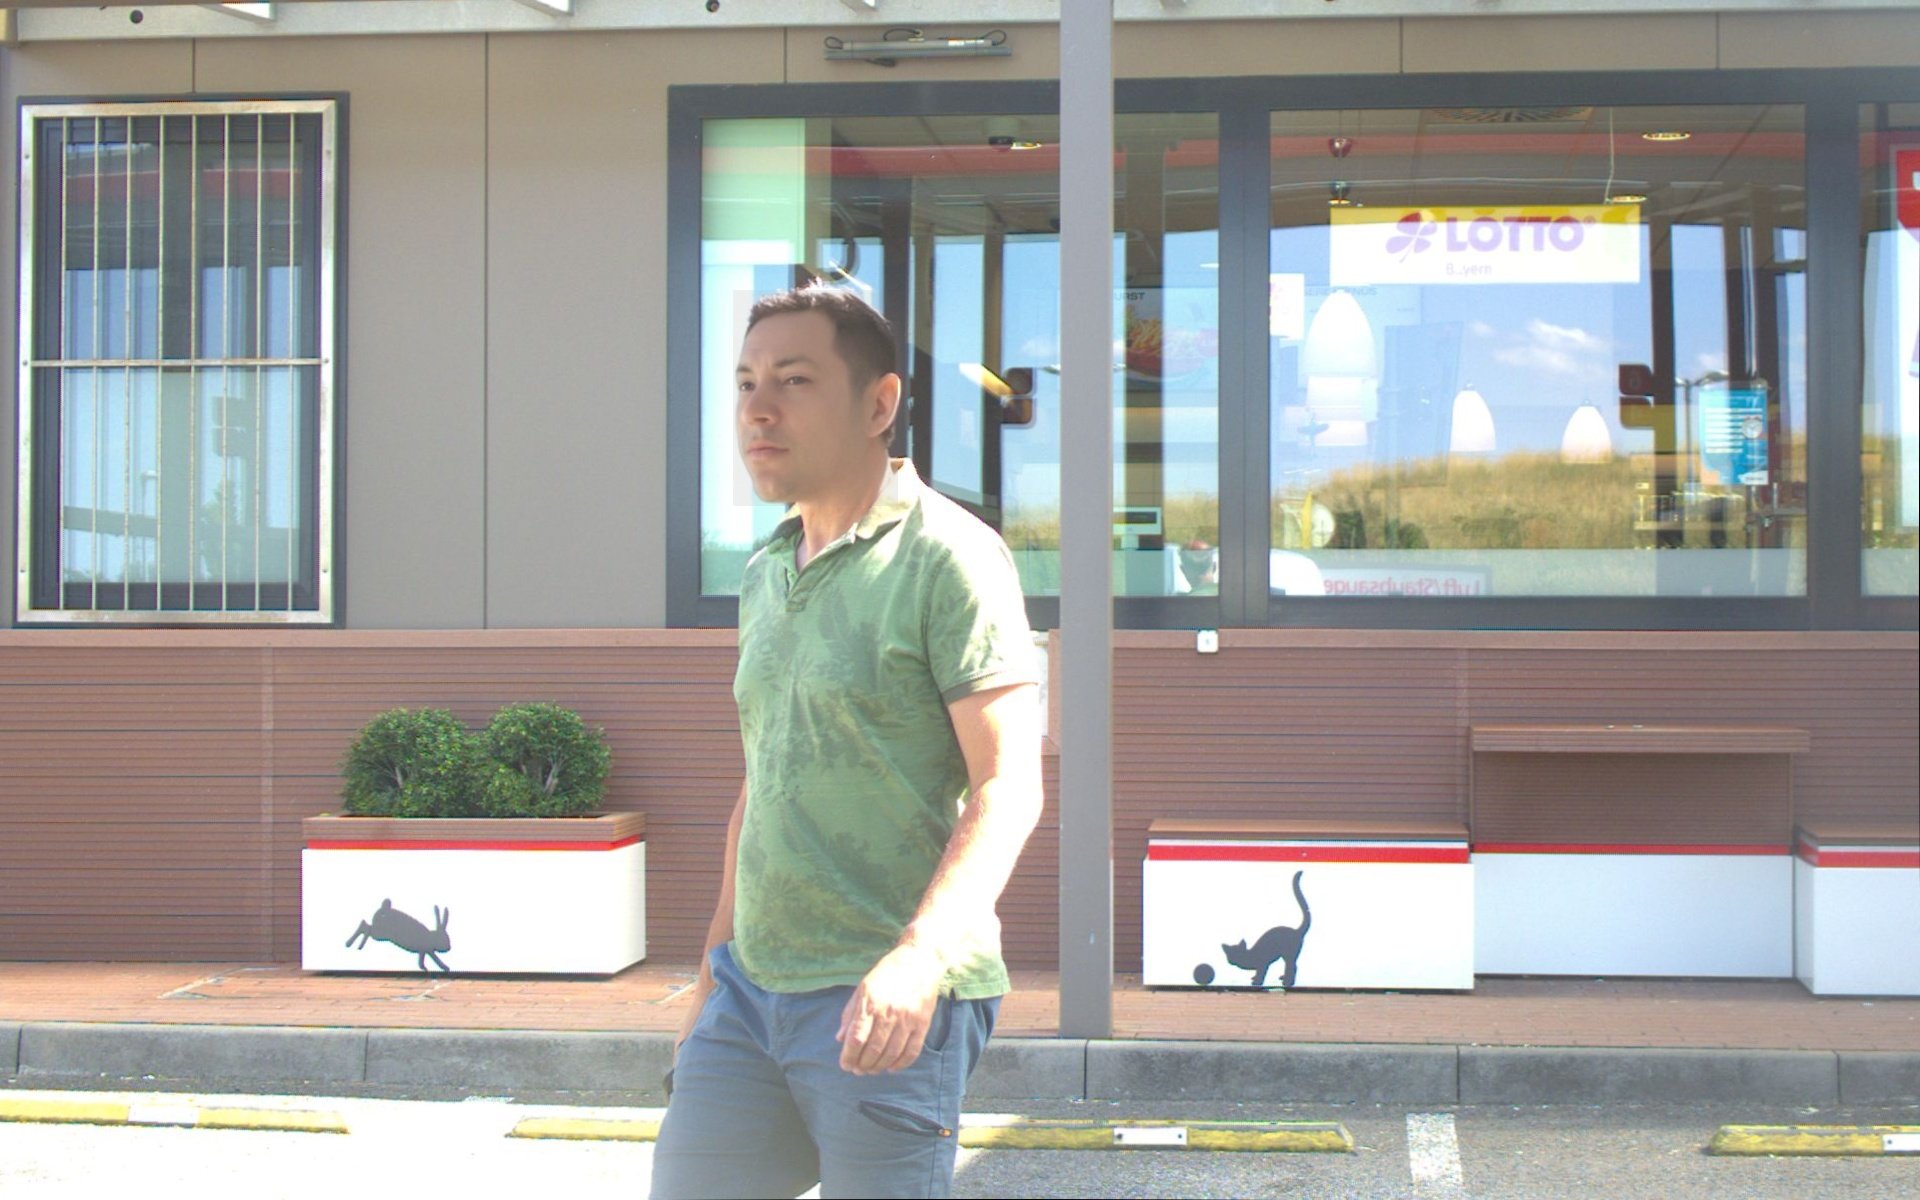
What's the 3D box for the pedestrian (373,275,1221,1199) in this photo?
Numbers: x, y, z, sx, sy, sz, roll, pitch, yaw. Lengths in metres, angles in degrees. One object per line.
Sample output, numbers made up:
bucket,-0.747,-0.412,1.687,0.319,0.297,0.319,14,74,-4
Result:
pedestrian,-0.191,0.527,4.412,0.702,1.791,0.860,0,0,36
